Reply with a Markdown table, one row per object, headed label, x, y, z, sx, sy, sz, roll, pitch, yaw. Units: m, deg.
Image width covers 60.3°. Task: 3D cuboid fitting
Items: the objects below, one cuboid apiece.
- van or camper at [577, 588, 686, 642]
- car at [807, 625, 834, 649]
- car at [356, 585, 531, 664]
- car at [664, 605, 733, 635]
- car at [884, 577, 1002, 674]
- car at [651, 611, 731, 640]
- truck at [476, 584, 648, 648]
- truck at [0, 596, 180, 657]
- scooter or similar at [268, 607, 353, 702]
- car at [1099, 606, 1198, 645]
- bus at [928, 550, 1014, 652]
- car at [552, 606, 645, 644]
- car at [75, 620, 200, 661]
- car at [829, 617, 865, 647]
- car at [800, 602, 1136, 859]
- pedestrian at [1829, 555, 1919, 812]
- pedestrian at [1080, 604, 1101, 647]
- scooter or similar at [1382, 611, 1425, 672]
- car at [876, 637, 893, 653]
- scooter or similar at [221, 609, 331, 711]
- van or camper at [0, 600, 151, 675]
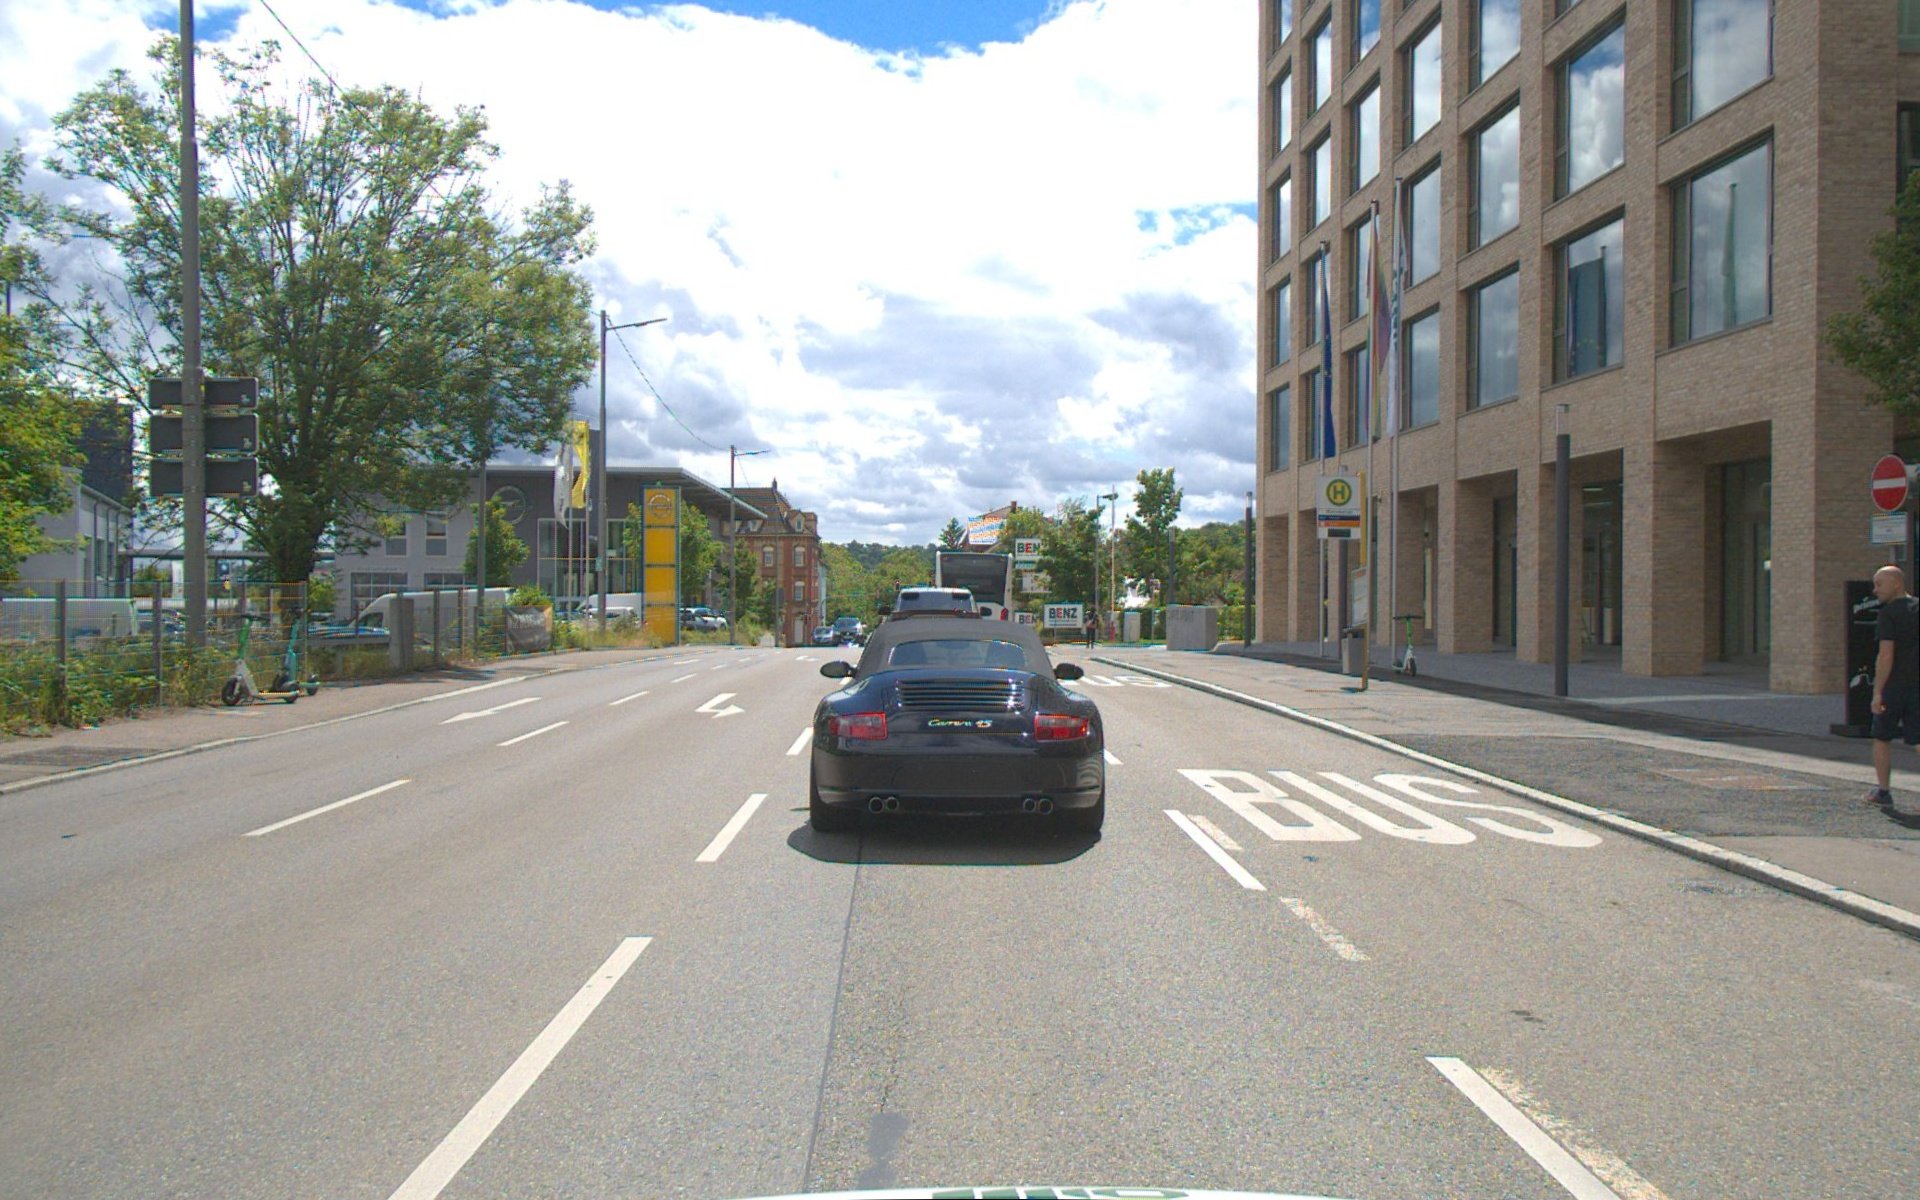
| label | x | y | z | sx | sy | sz | roll | pitch | yaw |
| --- | --- | --- | --- | --- | --- | --- | --- | --- | --- |
| van or camper | -16.084 | 0.708 | 81.288 | 4.926 | 2.575 | 2.317 | 0 | 0 | -3 |
| car | -10.152 | 2.683 | 120.461 | 1.709 | 1.623 | 4.039 | -2 | -1 | -3 |
| car | -13.855 | 0.637 | 44.589 | 4.078 | 2.049 | 2.197 | 0 | 0 | -4 |
| car | -14.992 | 1.169 | 95.032 | 1.891 | 1.600 | 4.553 | -1 | -2 | 21 |
| car | -0.379 | 0.416 | 29.733 | 1.892 | 1.610 | 4.205 | 0 | 0 | -4 |
| car | -14.601 | 1.374 | 89.981 | 1.857 | 1.476 | 4.828 | 0 | 1 | 26 |
| truck | -14.440 | 0.602 | 60.246 | 5.747 | 2.185 | 2.474 | -1 | -2 | -5 |
| truck | -33.995 | 1.048 | 64.637 | 6.206 | 2.268 | 2.683 | 0 | -2 | -23 |
| scooter or similar | -9.151 | 0.749 | 23.349 | 0.523 | 1.288 | 1.472 | 1 | 0 | 3 |
| car | 9.634 | 1.316 | 84.848 | 4.621 | 1.881 | 2.084 | -1 | -2 | -10 |
| bus | 0.528 | -0.033 | 58.796 | 2.744 | 3.254 | 12.198 | 0 | 1 | 2 |
| car | -17.173 | 1.185 | 78.644 | 3.903 | 1.735 | 2.001 | 0 | 0 | 3 |
| car | -31.232 | 1.553 | 62.927 | 4.174 | 1.523 | 1.913 | 1 | -2 | -25 |
| car | -5.849 | 1.683 | 86.149 | 1.793 | 1.535 | 4.273 | -1 | -1 | -3 |
| car | 0.023 | 0.740 | 11.449 | 1.891 | 1.401 | 4.207 | 0 | 1 | -1 |
| pedestrian | 6.806 | 0.572 | 11.796 | 0.669 | 1.758 | 0.962 | 1 | 0 | -2 |
| pedestrian | 4.808 | 0.933 | 61.140 | 0.673 | 1.563 | 0.856 | 0 | -1 | -2 |
| scooter or similar | 8.733 | 0.810 | 32.607 | 0.418 | 1.173 | 1.403 | -1 | 0 | -2 |
| car | -8.067 | 4.773 | 176.501 | 1.827 | 1.695 | 4.256 | 0 | -2 | -3 |
| scooter or similar | -9.021 | 0.763 | 21.855 | 0.523 | 1.284 | 1.472 | 1 | 0 | 15 |
| van or camper | -30.294 | 1.202 | 55.022 | 5.796 | 2.396 | 2.488 | 0 | 0 | -21 |
